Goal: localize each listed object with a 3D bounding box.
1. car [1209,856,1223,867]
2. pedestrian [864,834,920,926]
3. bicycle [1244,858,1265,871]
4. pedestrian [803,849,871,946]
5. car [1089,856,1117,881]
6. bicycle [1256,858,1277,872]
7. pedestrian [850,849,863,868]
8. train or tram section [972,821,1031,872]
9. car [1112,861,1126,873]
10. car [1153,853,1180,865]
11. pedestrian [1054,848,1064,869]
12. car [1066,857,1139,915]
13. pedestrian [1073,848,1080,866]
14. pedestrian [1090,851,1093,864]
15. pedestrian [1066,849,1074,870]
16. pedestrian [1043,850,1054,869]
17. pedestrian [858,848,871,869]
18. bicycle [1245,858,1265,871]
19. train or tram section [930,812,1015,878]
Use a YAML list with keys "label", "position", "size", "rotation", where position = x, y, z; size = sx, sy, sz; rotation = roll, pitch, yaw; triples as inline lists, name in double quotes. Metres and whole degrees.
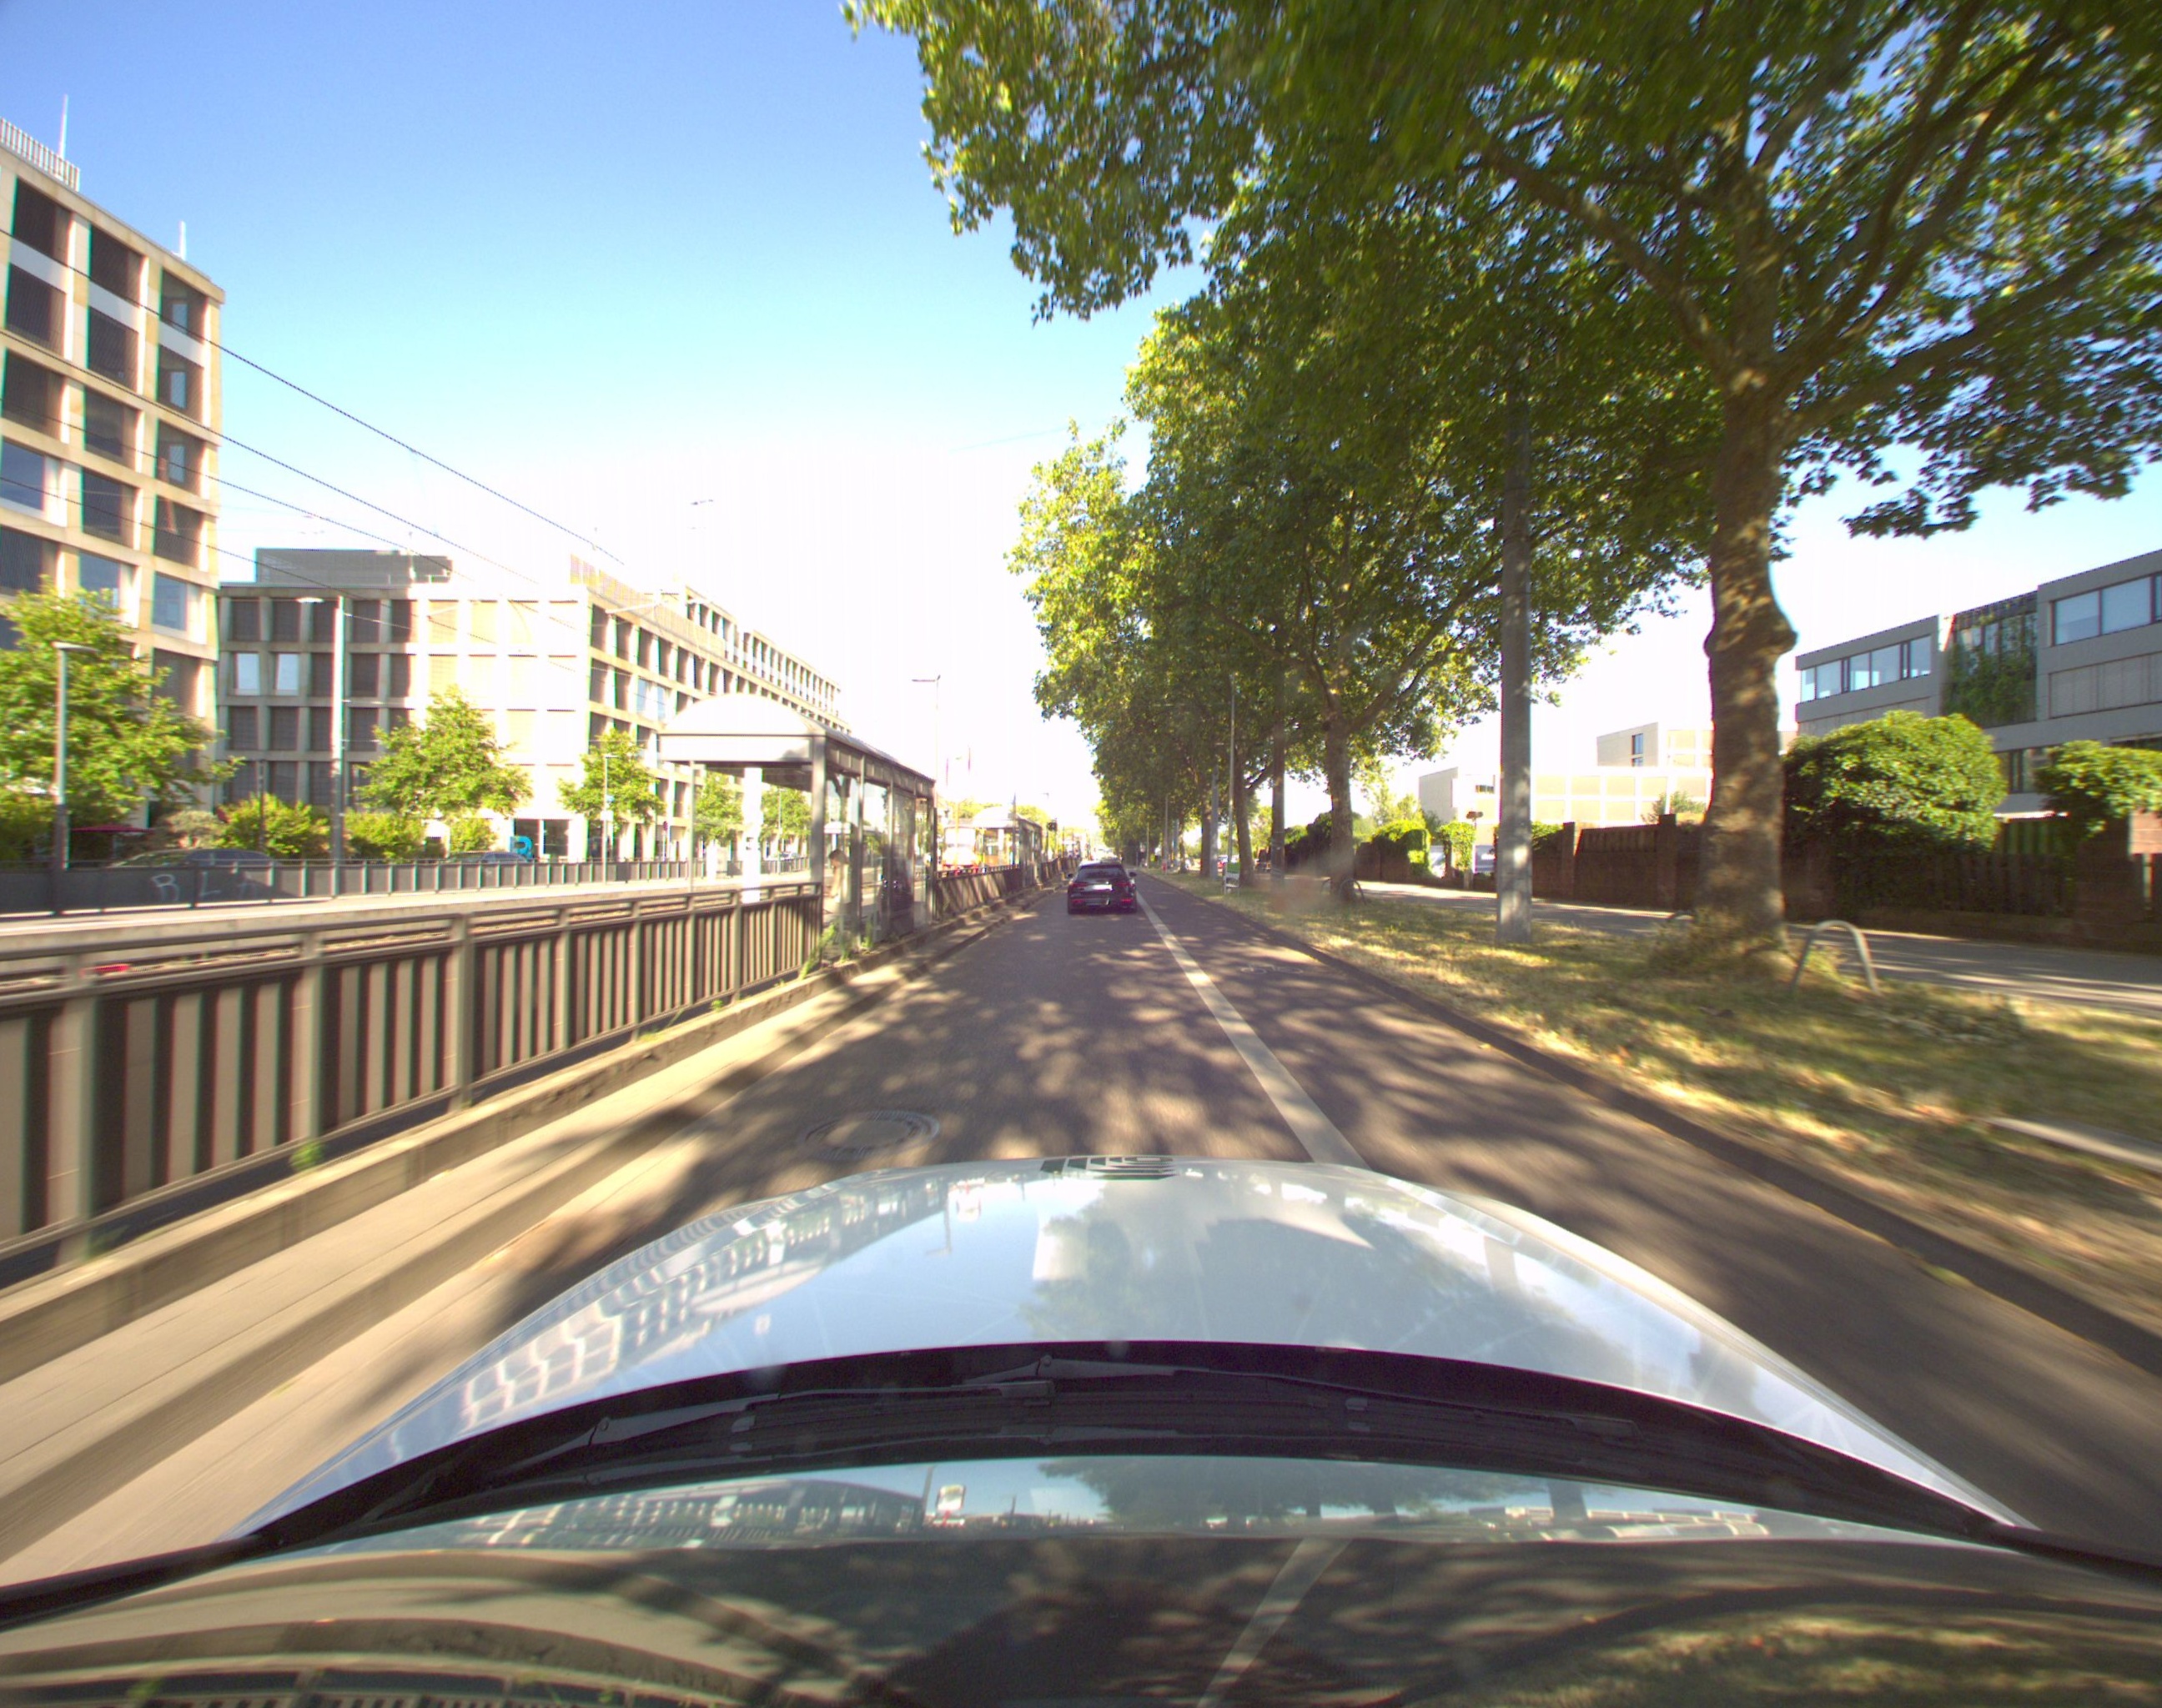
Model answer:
- label: "car"
  position: [19.629, 1.122, 118.350]
  size: [1.608, 1.515, 3.805]
  rotation: [1, 0, 2]
- label: "pedestrian"
  position: [-3.182, 0.428, 13.740]
  size: [0.742, 1.508, 0.667]
  rotation: [0, 0, 4]
- label: "bicycle"
  position: [15.865, 0.972, 74.414]
  size: [1.767, 1.120, 0.439]
  rotation: [-1, -1, 1]
- label: "pedestrian"
  position: [-3.263, 0.569, 10.930]
  size: [0.739, 1.274, 0.525]
  rotation: [0, 0, 1]
- label: "car"
  position: [1.421, 0.924, 53.794]
  size: [1.757, 1.619, 3.999]
  rotation: [1, 0, 0]
- label: "bicycle"
  position: [15.730, 0.954, 69.177]
  size: [1.681, 1.120, 0.439]
  rotation: [-1, -1, 1]
- label: "pedestrian"
  position: [-15.427, 0.312, 55.914]
  size: [0.611, 1.260, 0.725]
  rotation: [1, -1, 6]
- label: "train or tram section"
  position: [-6.433, -0.551, 68.198]
  size: [3.296, 3.829, 11.848]
  rotation: [1, 0, 2]
- label: "car"
  position: [5.243, 1.782, 113.475]
  size: [1.757, 1.619, 3.999]
  rotation: [1, 0, 0]
- label: "car"
  position: [13.353, 0.807, 127.230]
  size: [3.971, 1.764, 1.834]
  rotation: [1, -1, 2]
- label: "pedestrian"
  position: [-1.651, 0.364, 60.908]
  size: [0.610, 1.549, 0.727]
  rotation: [1, -1, 12]
- label: "car"
  position: [0.561, 0.819, 22.699]
  size: [1.872, 1.457, 3.356]
  rotation: [-1, 0, 0]
- label: "pedestrian"
  position: [-0.437, 0.297, 79.195]
  size: [0.609, 1.784, 0.614]
  rotation: [1, -1, 2]
- label: "pedestrian"
  position: [1.520, 0.494, 116.232]
  size: [0.410, 1.717, 0.666]
  rotation: [1, -1, 2]
- label: "pedestrian"
  position: [-0.873, 0.468, 66.766]
  size: [0.609, 1.668, 0.614]
  rotation: [1, -1, 4]
- label: "pedestrian"
  position: [-2.976, 0.489, 75.287]
  size: [0.799, 1.784, 0.642]
  rotation: [1, -1, -38]
- label: "pedestrian"
  position: [-15.524, 0.333, 58.460]
  size: [0.610, 1.527, 0.726]
  rotation: [1, -1, 10]
- label: "bicycle"
  position: [16.131, 0.968, 75.453]
  size: [1.767, 1.120, 0.439]
  rotation: [-1, -1, 1]
- label: "train or tram section"
  position: [-6.969, -0.513, 54.946]
  size: [3.296, 3.829, 14.225]
  rotation: [1, 0, 2]
